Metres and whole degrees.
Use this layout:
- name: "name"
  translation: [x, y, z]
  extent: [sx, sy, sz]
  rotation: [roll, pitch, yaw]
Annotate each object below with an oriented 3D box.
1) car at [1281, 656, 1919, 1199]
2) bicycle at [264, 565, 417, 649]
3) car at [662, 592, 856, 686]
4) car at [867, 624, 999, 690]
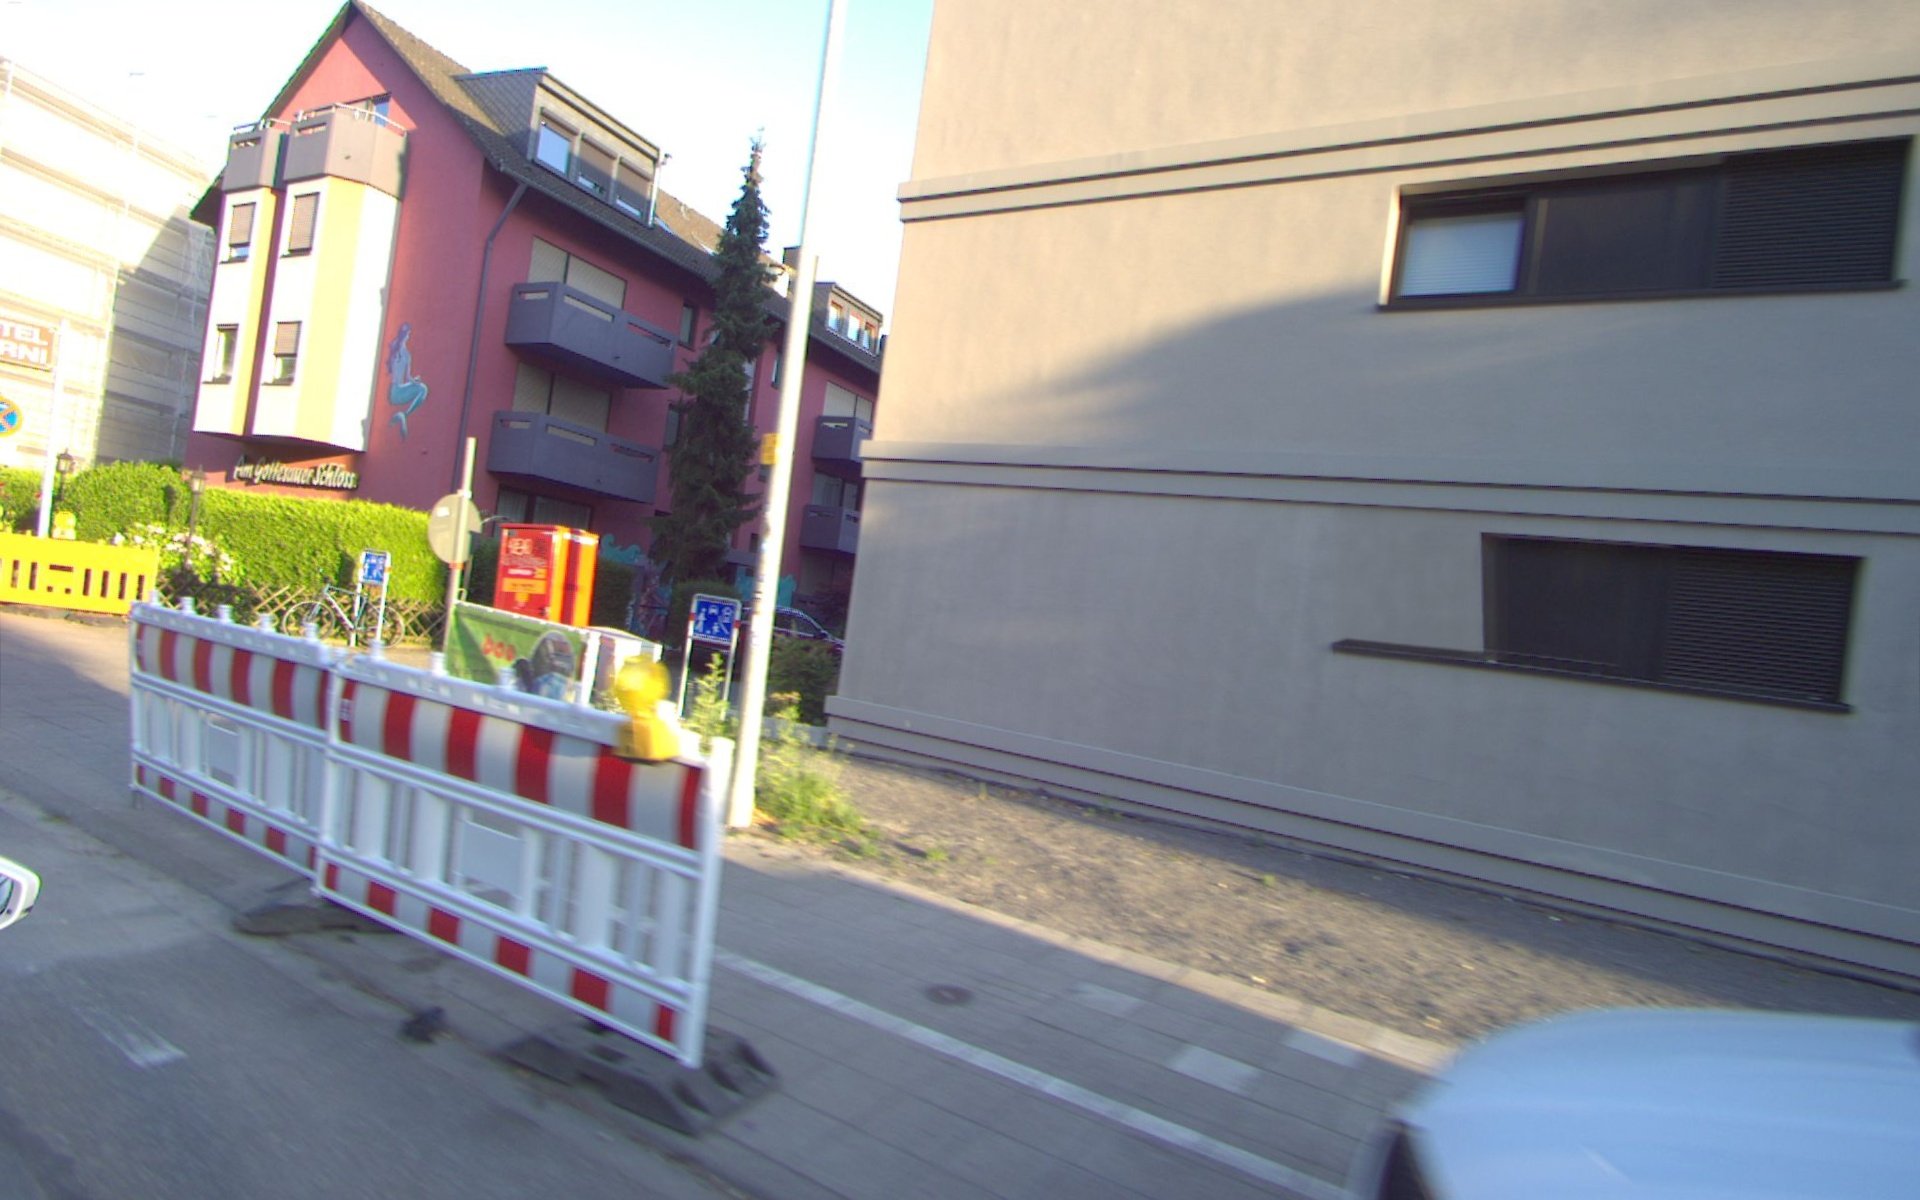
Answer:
- name: "car"
  translation: [2.507, 1.103, 1.095]
  extent: [3.928, 1.486, 1.619]
  rotation: [7, -2, 29]
- name: "bicycle"
  translation: [-9.532, 0.138, 15.551]
  extent: [0.439, 1.082, 1.894]
  rotation: [7, -2, 37]
- name: "car"
  translation: [-4.265, 0.900, 21.931]
  extent: [1.855, 1.585, 3.909]
  rotation: [7, -2, 31]
- name: "car"
  translation: [-0.674, 1.628, 28.047]
  extent: [1.731, 1.425, 3.909]
  rotation: [7, -2, 31]
